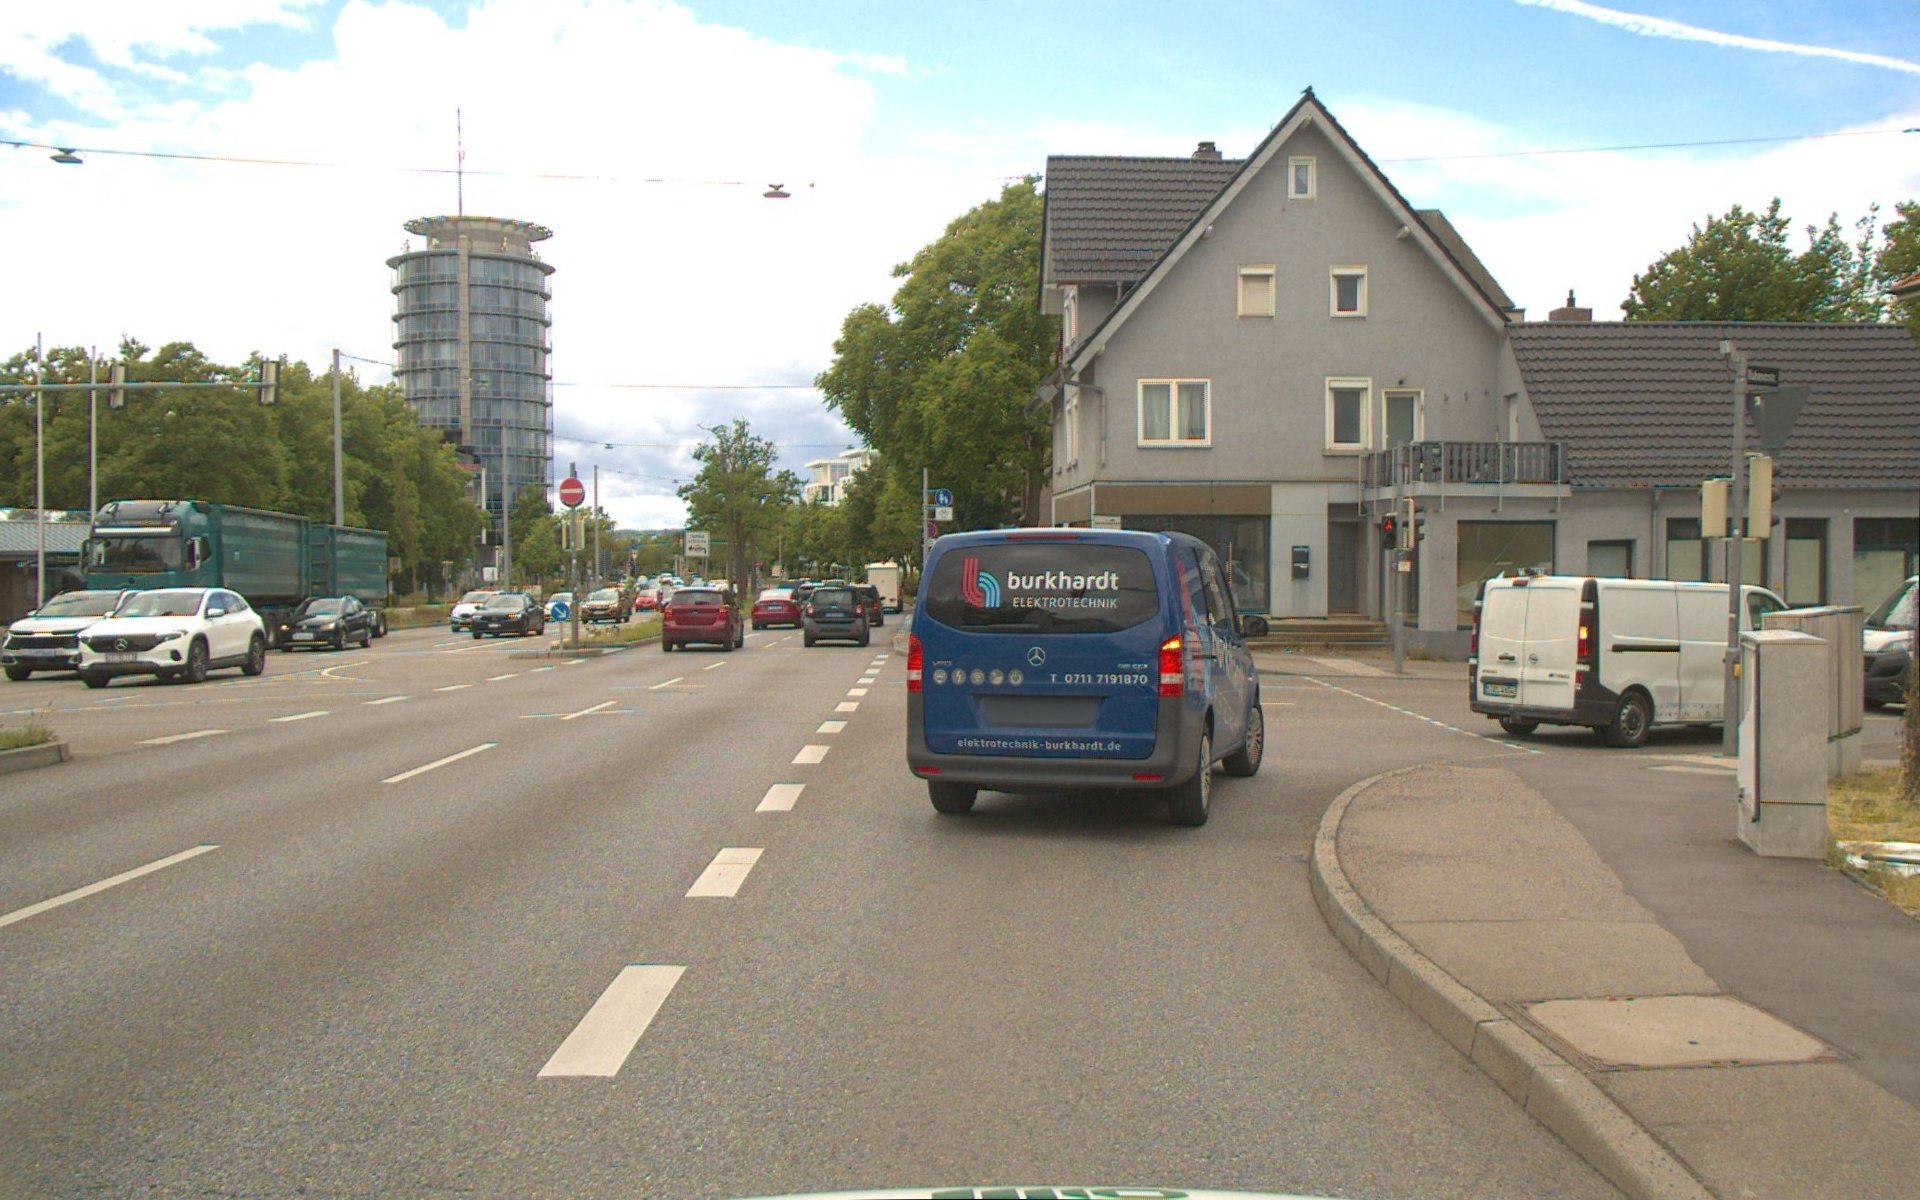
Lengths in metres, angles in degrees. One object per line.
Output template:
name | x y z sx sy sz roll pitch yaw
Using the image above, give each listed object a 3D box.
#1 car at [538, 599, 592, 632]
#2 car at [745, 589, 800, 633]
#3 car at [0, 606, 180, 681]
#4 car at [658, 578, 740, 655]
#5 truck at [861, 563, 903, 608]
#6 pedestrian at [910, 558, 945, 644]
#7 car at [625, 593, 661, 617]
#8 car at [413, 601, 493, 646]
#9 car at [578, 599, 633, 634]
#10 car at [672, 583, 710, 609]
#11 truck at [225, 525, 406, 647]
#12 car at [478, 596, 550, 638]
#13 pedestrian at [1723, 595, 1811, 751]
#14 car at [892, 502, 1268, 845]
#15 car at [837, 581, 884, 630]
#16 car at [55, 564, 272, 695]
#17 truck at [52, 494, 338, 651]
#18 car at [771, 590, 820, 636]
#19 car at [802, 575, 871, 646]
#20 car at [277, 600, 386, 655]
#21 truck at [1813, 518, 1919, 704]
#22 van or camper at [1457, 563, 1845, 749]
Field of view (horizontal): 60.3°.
car | -20.146 0.784 84.503 1.954 1.601 3.997 -1 0 -4
car | -6.997 0.419 61.468 1.834 1.512 3.990 -1 -2 -10
car | -16.731 0.795 31.785 1.793 1.284 3.997 -1 0 -4
car | -6.341 0.369 40.514 1.712 1.753 3.995 -1 0 -6
truck | -4.011 -0.746 86.033 1.953 2.203 5.558 1 0 -1
pedestrian | -0.785 0.026 40.097 0.755 2.049 0.878 -1 0 3
car | -21.860 0.358 114.162 1.954 1.601 3.997 -1 0 -4
car | -19.121 0.864 62.515 1.954 1.601 3.997 -1 0 -4
car | -16.513 0.755 77.191 1.954 1.542 3.997 -1 0 -4
car | -17.054 -0.252 104.944 1.954 1.601 3.997 -1 0 -4
truck | -21.647 -0.450 56.116 3.301 3.792 8.022 -1 0 -3
car | -15.074 0.543 56.049 1.957 1.355 4.434 -1 0 -10
pedestrian | 8.550 0.774 17.545 0.592 1.625 0.609 0 -3 -3
car | 1.098 0.433 12.095 1.906 2.000 4.545 0 0 15
car | -3.742 0.199 62.547 1.711 1.753 3.998 -1 0 -3
car | -13.662 0.465 28.657 1.954 2.049 4.175 -1 0 -4
truck | -20.627 -0.649 45.686 3.301 3.792 11.271 0 0 -4
car | -7.687 0.582 76.977 1.957 2.048 3.991 1 1 -10
car | -3.246 0.252 43.753 1.712 1.753 3.997 -1 0 -4
car | -17.554 0.738 46.375 1.762 1.442 3.997 -1 0 -4
truck | 16.903 0.264 25.693 6.257 2.748 1.999 2 0 -2
van or camper | 8.762 0.621 20.832 5.031 2.048 1.978 0 2 -33
